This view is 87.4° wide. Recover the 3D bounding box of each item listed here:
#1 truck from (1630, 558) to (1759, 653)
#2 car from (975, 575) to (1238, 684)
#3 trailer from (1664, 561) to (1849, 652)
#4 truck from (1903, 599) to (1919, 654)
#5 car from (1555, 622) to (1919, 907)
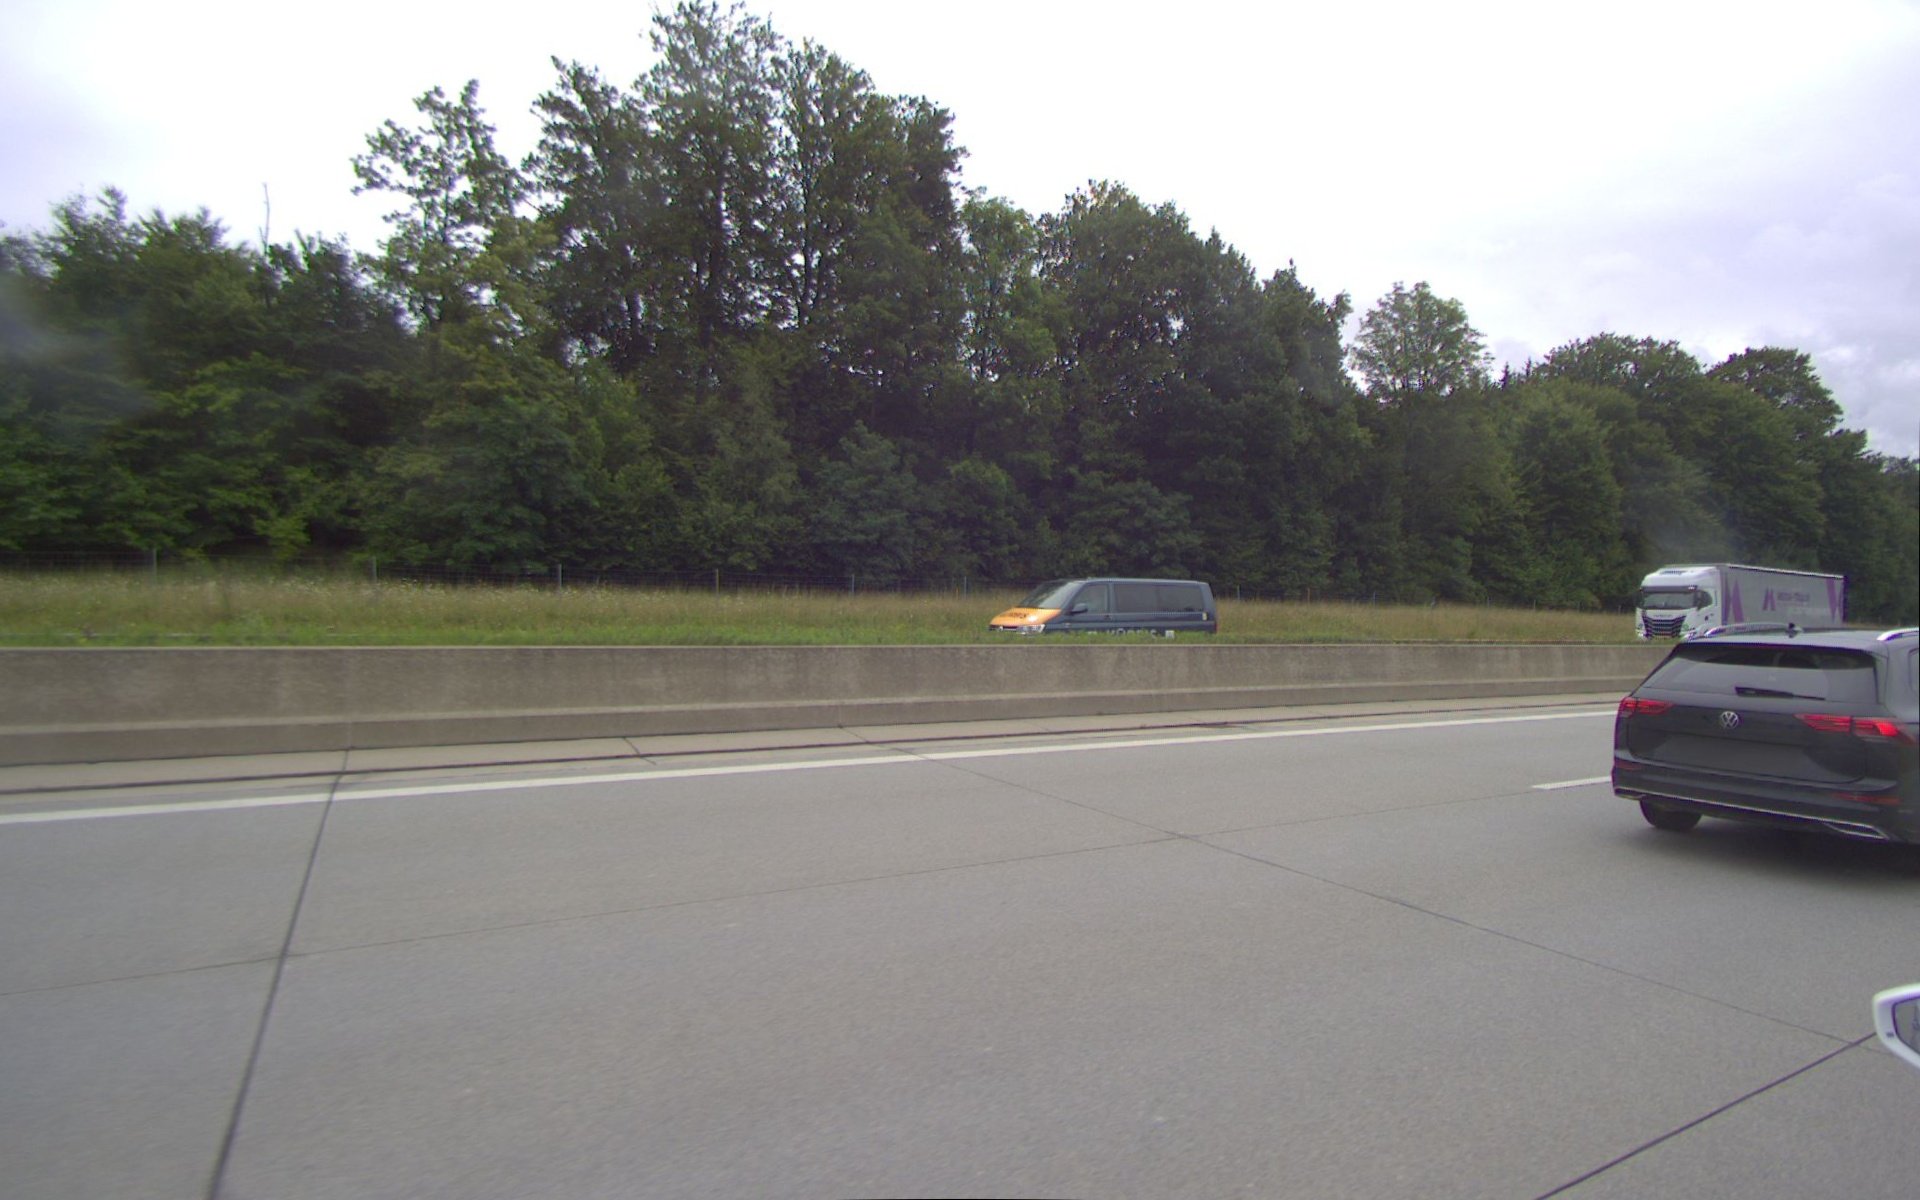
[{"bbox_3d":[34.355,0.296,46.925,6.386,4.180,2.496,1,0,-31],"label":"truck"},{"bbox_3d":[3.136,0.602,21.095,5.363,2.040,2.052,1,0,-30],"label":"car"},{"bbox_3d":[40.250,0.467,50.477,13.813,4.158,2.485,2,0,-31],"label":"trailer"},{"bbox_3d":[52.883,1.456,53.430,6.436,2.825,2.256,1,0,-31],"label":"truck"},{"bbox_3d":[6.333,0.910,7.028,4.430,1.417,1.745,1,0,-29],"label":"car"}]
